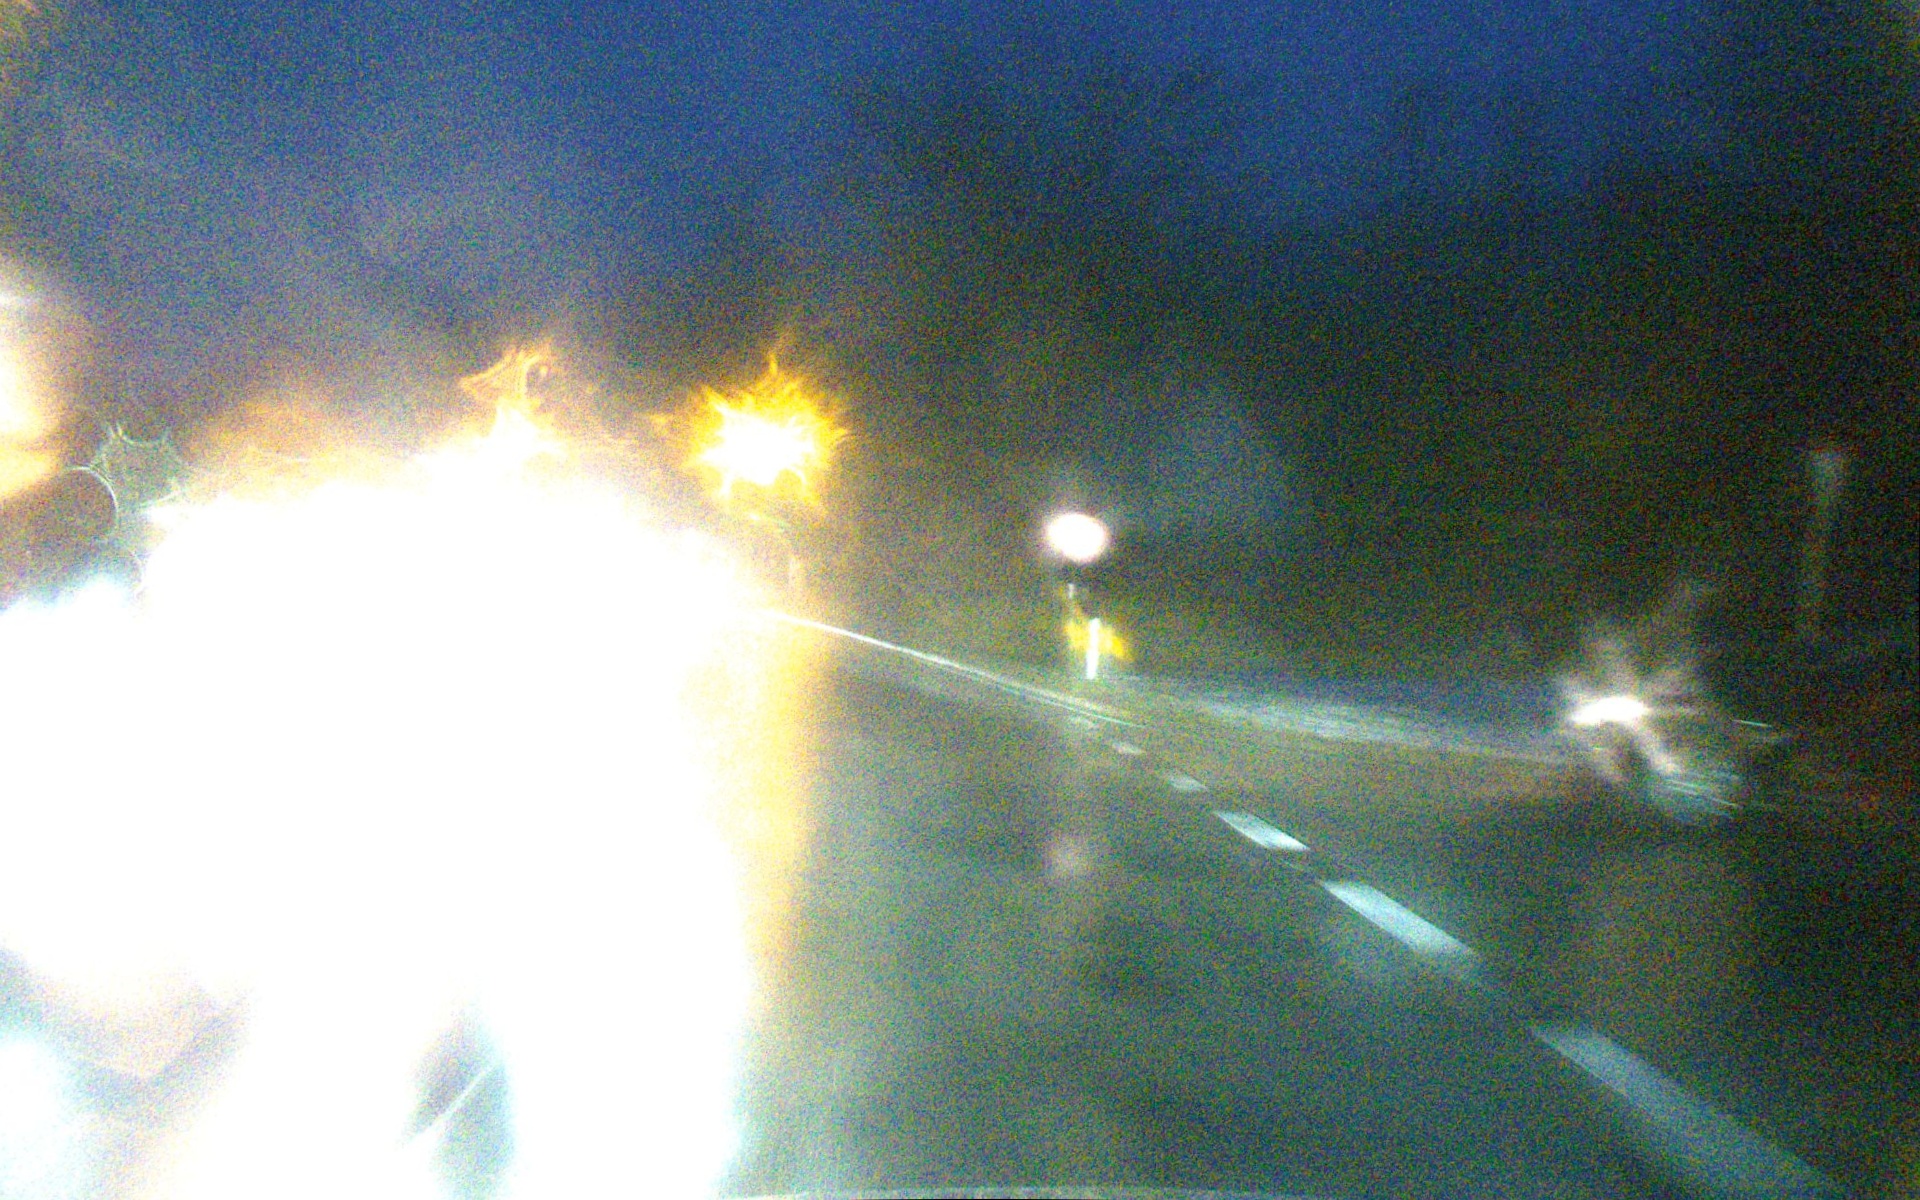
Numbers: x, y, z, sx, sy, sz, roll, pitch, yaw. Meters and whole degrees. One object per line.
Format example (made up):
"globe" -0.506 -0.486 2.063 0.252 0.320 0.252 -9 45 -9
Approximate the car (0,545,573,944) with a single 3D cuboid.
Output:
"car" -3.448 0.598 8.833 1.917 1.548 4.396 2 -1 -4

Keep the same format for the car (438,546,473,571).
"car" -32.619 -2.684 106.871 1.614 1.537 4.085 -1 2 -25

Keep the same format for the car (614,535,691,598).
"car" -13.909 -1.565 74.522 2.501 2.540 5.684 1 3 -20

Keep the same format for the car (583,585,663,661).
"car" -7.863 0.499 38.841 1.664 1.627 3.793 1 1 -9

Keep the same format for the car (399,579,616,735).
"car" -4.929 0.550 18.495 1.679 1.501 3.864 2 0 -6

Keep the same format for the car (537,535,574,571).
"car" -25.138 -2.887 102.720 1.961 2.049 3.983 3 -1 -16

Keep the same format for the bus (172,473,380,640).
"bus" -18.951 -1.186 45.113 2.866 3.936 12.911 1 1 -33

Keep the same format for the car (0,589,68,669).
"car" -17.873 0.462 28.575 1.804 1.400 4.740 2 -1 8

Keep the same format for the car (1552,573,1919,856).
"car" 6.621 0.757 10.956 4.689 1.721 1.949 2 -1 42
